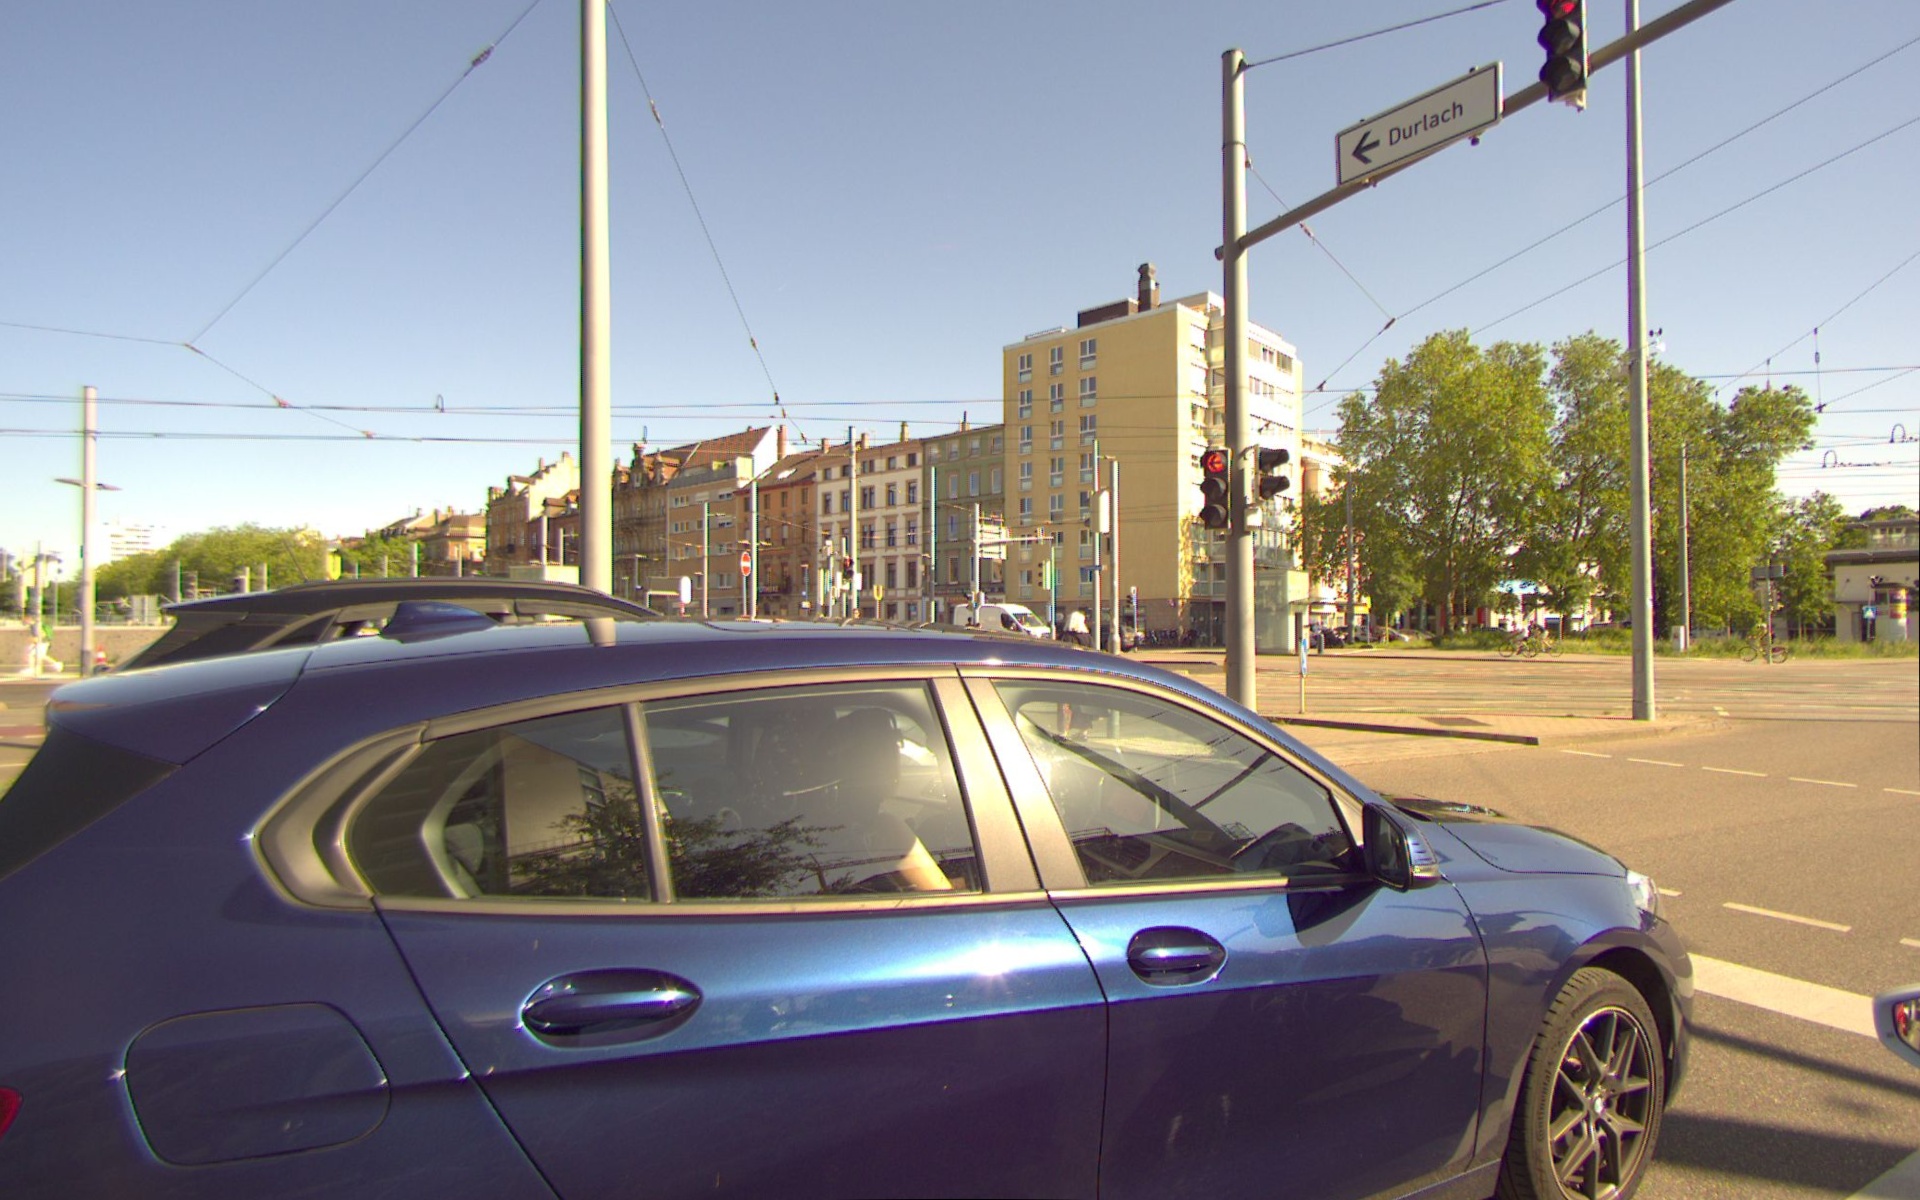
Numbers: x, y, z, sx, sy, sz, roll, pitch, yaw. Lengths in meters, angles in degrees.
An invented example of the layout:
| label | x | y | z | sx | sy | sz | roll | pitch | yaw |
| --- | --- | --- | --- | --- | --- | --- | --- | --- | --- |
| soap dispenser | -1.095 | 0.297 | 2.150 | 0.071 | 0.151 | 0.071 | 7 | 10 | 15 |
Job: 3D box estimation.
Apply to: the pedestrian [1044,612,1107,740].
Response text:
| label | x | y | z | sx | sy | sz | roll | pitch | yaw |
| --- | --- | --- | --- | --- | --- | --- | --- | --- | --- |
| pedestrian | 1.446 | 0.944 | 12.589 | 0.746 | 1.575 | 0.357 | 0 | -1 | 0 |

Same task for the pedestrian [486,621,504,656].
| label | x | y | z | sx | sy | sz | roll | pitch | yaw |
| --- | --- | --- | --- | --- | --- | --- | --- | --- | --- |
| pedestrian | -23.458 | 1.945 | 50.693 | 0.672 | 1.735 | 0.793 | 1 | -1 | -38 |

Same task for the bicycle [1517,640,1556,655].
| label | x | y | z | sx | sy | sz | roll | pitch | yaw |
| --- | --- | --- | --- | --- | --- | --- | --- | --- | --- |
| bicycle | 28.330 | 2.335 | 49.380 | 1.610 | 0.727 | 0.422 | -1 | -2 | 41 |

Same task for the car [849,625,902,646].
| label | x | y | z | sx | sy | sz | roll | pitch | yaw |
| --- | --- | --- | --- | --- | --- | --- | --- | --- | --- |
| car | -6.264 | 2.612 | 74.455 | 1.749 | 1.446 | 3.863 | -1 | -2 | 39 |

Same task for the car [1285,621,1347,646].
| label | x | y | z | sx | sy | sz | roll | pitch | yaw |
| --- | --- | --- | --- | --- | --- | --- | --- | --- | --- |
| car | 24.462 | 2.309 | 69.035 | 3.691 | 1.684 | 1.586 | -1 | -2 | 42 |

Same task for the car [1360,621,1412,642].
| label | x | y | z | sx | sy | sz | roll | pitch | yaw |
| --- | --- | --- | --- | --- | --- | --- | --- | --- | --- |
| car | 34.920 | 2.591 | 82.383 | 3.691 | 1.684 | 1.586 | -1 | -2 | 42 |

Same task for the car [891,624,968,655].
| label | x | y | z | sx | sy | sz | roll | pitch | yaw |
| --- | --- | --- | --- | --- | --- | --- | --- | --- | --- |
| car | -1.748 | 2.181 | 56.471 | 4.246 | 1.675 | 1.848 | -1 | -2 | 42 |

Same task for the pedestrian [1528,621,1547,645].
| label | x | y | z | sx | sy | sz | roll | pitch | yaw |
| --- | --- | --- | --- | --- | --- | --- | --- | --- | --- |
| pedestrian | 28.372 | 1.626 | 49.355 | 0.739 | 1.142 | 0.422 | -1 | -2 | 41 |

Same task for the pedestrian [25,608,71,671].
| label | x | y | z | sx | sy | sz | roll | pitch | yaw |
| --- | --- | --- | --- | --- | --- | --- | --- | --- | --- |
| pedestrian | -27.709 | 1.200 | 30.527 | 0.872 | 1.879 | 0.683 | 1 | -1 | -30 |

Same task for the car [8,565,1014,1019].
| label | x | y | z | sx | sy | sz | roll | pitch | yaw |
| --- | --- | --- | --- | --- | --- | --- | --- | --- | --- |
| car | -1.866 | 0.685 | 5.117 | 3.959 | 1.537 | 1.751 | 1 | -1 | -28 |

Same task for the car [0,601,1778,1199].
| label | x | y | z | sx | sy | sz | roll | pitch | yaw |
| --- | --- | --- | --- | --- | --- | --- | --- | --- | --- |
| car | 0.129 | 0.780 | 2.543 | 3.984 | 1.464 | 1.703 | 1 | 0 | -30 |

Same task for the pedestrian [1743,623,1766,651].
| label | x | y | z | sx | sy | sz | roll | pitch | yaw |
| --- | --- | --- | --- | --- | --- | --- | --- | --- | --- |
| pedestrian | 35.835 | 1.666 | 45.304 | 0.785 | 1.220 | 0.557 | -1 | -2 | 41 |

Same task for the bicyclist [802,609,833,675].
| label | x | y | z | sx | sy | sz | roll | pitch | yaw |
| --- | --- | --- | --- | --- | --- | --- | --- | --- | --- |
| bicyclist | -3.709 | 1.088 | 26.145 | 0.668 | 1.676 | 0.782 | 0 | -1 | -19 |

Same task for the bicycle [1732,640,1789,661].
| label | x | y | z | sx | sy | sz | roll | pitch | yaw |
| --- | --- | --- | --- | --- | --- | --- | --- | --- | --- |
| bicycle | 35.978 | 2.258 | 45.168 | 1.982 | 0.925 | 0.560 | -1 | -2 | 41 |

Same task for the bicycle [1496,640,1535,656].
| label | x | y | z | sx | sy | sz | roll | pitch | yaw |
| --- | --- | --- | --- | --- | --- | --- | --- | --- | --- |
| bicycle | 26.890 | 2.322 | 48.633 | 1.609 | 0.769 | 0.422 | -1 | -2 | 38 |

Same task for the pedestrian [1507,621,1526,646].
| label | x | y | z | sx | sy | sz | roll | pitch | yaw |
| --- | --- | --- | --- | --- | --- | --- | --- | --- | --- |
| pedestrian | 26.943 | 1.629 | 48.606 | 0.738 | 1.220 | 0.422 | -1 | -1 | 38 |

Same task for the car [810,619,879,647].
| label | x | y | z | sx | sy | sz | roll | pitch | yaw |
| --- | --- | --- | --- | --- | --- | --- | --- | --- | --- |
| car | -7.148 | 2.033 | 62.080 | 4.244 | 1.675 | 1.849 | -1 | -2 | 40 |

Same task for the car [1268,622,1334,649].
| label | x | y | z | sx | sy | sz | roll | pitch | yaw |
| --- | --- | --- | --- | --- | --- | --- | --- | --- | --- |
| car | 21.640 | 2.227 | 63.842 | 3.691 | 1.684 | 1.586 | -1 | -2 | 42 |

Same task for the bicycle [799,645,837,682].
| label | x | y | z | sx | sy | sz | roll | pitch | yaw |
| --- | --- | --- | --- | --- | --- | --- | --- | --- | --- |
| bicycle | -3.718 | 1.645 | 26.138 | 0.668 | 0.890 | 1.891 | 0 | -1 | -18 |

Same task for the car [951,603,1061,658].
| label | x | y | z | sx | sy | sz | roll | pitch | yaw |
| --- | --- | --- | --- | --- | --- | --- | --- | --- | --- |
| car | 2.164 | 1.458 | 48.897 | 5.341 | 2.541 | 1.989 | -1 | -2 | 42 |

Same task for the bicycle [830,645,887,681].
| label | x | y | z | sx | sy | sz | roll | pitch | yaw |
| --- | --- | --- | --- | --- | --- | --- | --- | --- | --- |
| bicycle | -2.699 | 1.650 | 26.552 | 0.672 | 0.890 | 1.880 | 1 | -2 | -35 |

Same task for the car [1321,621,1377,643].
| label | x | y | z | sx | sy | sz | roll | pitch | yaw |
| --- | --- | --- | --- | --- | --- | --- | --- | --- | --- |
| car | 29.933 | 2.461 | 77.349 | 3.691 | 1.684 | 1.586 | -1 | -2 | 42 |

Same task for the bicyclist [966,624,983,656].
| label | x | y | z | sx | sy | sz | roll | pitch | yaw |
| --- | --- | --- | --- | --- | --- | --- | --- | --- | --- |
| bicyclist | 0.668 | 1.816 | 46.301 | 0.609 | 1.462 | 0.614 | 1 | -1 | -30 |

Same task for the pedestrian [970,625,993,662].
| label | x | y | z | sx | sy | sz | roll | pitch | yaw |
| --- | --- | --- | --- | --- | --- | --- | --- | --- | --- |
| pedestrian | 0.948 | 1.908 | 44.192 | 0.669 | 1.593 | 0.740 | 1 | -2 | -45 |

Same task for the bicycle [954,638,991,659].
| label | x | y | z | sx | sy | sz | roll | pitch | yaw |
| --- | --- | --- | --- | --- | --- | --- | --- | --- | --- |
| bicycle | 0.580 | 2.223 | 46.235 | 1.666 | 0.958 | 0.614 | 1 | -1 | -30 |

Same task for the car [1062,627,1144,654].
| label | x | y | z | sx | sy | sz | roll | pitch | yaw |
| --- | --- | --- | --- | --- | --- | --- | --- | --- | --- |
| car | 7.890 | 2.204 | 55.545 | 4.163 | 1.419 | 1.849 | -1 | -2 | 41 |

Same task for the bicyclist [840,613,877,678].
| label | x | y | z | sx | sy | sz | roll | pitch | yaw |
| --- | --- | --- | --- | --- | --- | --- | --- | --- | --- |
| bicyclist | -2.688 | 1.196 | 26.542 | 0.672 | 1.676 | 0.777 | 1 | -1 | -35 |
